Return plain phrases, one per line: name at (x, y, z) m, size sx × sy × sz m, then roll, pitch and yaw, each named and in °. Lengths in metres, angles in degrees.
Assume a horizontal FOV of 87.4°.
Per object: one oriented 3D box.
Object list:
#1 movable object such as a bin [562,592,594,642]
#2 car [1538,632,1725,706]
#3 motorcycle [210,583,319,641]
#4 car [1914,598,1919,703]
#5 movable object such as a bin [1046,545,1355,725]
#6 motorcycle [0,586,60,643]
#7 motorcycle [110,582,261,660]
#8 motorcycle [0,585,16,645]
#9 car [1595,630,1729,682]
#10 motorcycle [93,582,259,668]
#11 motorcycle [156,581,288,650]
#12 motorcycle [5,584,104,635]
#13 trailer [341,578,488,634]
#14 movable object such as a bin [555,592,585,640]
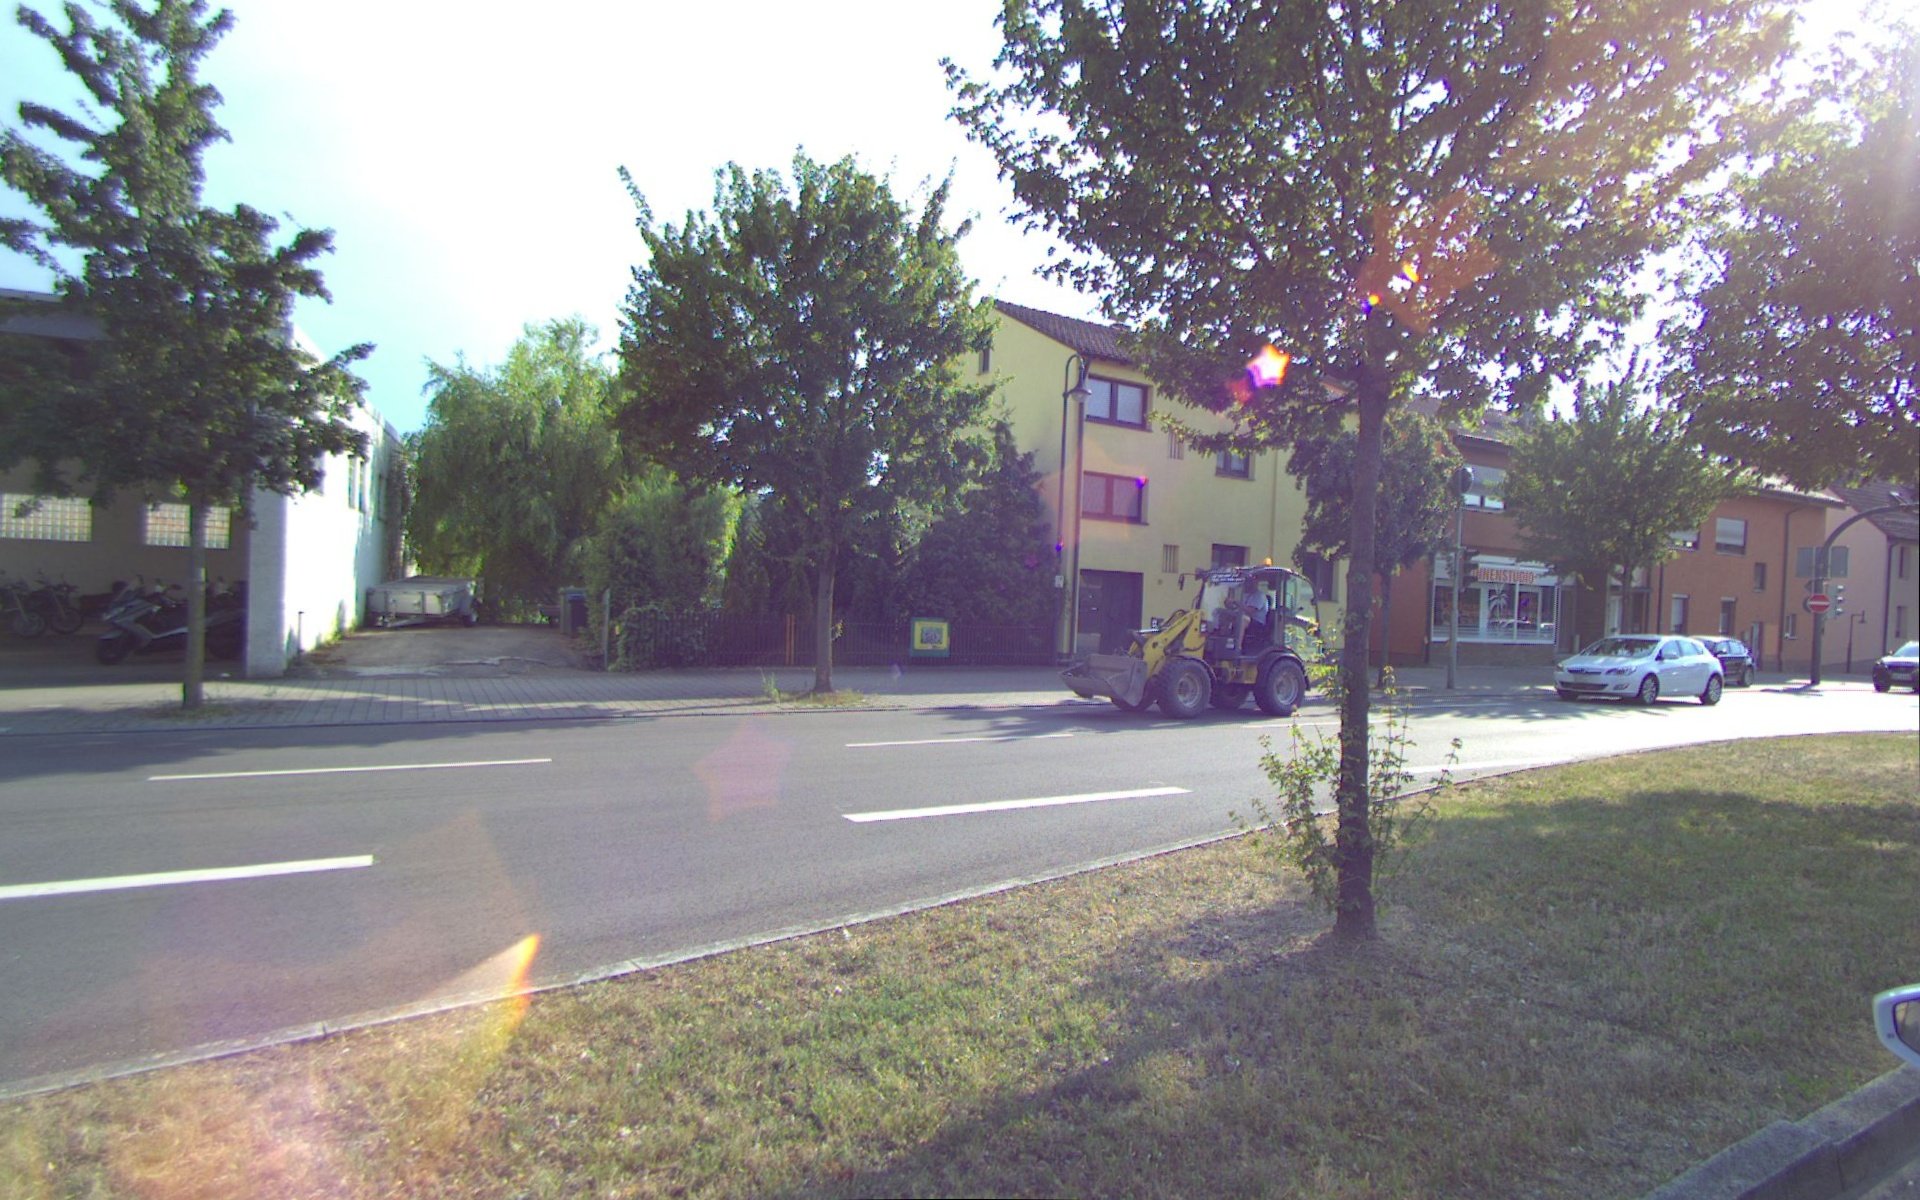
movable object such as a bin at (-8.501, 0.370, 22.367) m, size 0.582 × 1.083 × 0.538 m, roll 2°, pitch 0°, yaw -27°
car at (14.729, 1.478, 21.996) m, size 4.162 × 1.433 × 1.684 m, roll 2°, pitch 0°, yaw -29°
motorcycle at (-16.524, 0.273, 23.908) m, size 0.516 × 1.318 × 2.088 m, roll 1°, pitch 0°, yaw 33°
car at (25.594, 1.282, 24.388) m, size 5.414 × 2.508 × 2.075 m, roll 2°, pitch 0°, yaw -30°
movable object such as a bin at (3.854, 0.553, 15.781) m, size 4.916 × 2.494 × 1.546 m, roll 2°, pitch 0°, yaw -28°
motorcycle at (-19.672, 0.284, 20.701) m, size 2.006 × 1.114 × 0.551 m, roll 1°, pitch 0°, yaw 10°
motorcycle at (-13.873, 0.368, 18.062) m, size 0.516 × 1.318 × 2.088 m, roll 1°, pitch 0°, yaw 33°
motorcycle at (-18.638, 0.259, 18.634) m, size 2.006 × 1.114 × 0.551 m, roll 1°, pitch 0°, yaw 10°
car at (21.250, 1.685, 30.387) m, size 3.893 × 1.433 × 1.788 m, roll 2°, pitch 0°, yaw -29°
motorcycle at (-12.783, 0.395, 16.448) m, size 0.516 × 1.318 × 2.088 m, roll 1°, pitch 0°, yaw 33°
motorcycle at (-14.866, 0.301, 20.294) m, size 0.516 × 1.318 × 2.088 m, roll 1°, pitch 0°, yaw 33°
motorcycle at (-20.699, 0.207, 22.974) m, size 2.006 × 1.114 × 0.551 m, roll 1°, pitch 0°, yaw 10°
trailer at (-12.370, 0.105, 23.037) m, size 2.131 × 1.127 × 3.359 m, roll 2°, pitch 0°, yaw -14°
movable object such as a bin at (-8.959, 0.365, 23.077) m, size 0.582 × 1.083 × 0.538 m, roll 2°, pitch 0°, yaw -27°
